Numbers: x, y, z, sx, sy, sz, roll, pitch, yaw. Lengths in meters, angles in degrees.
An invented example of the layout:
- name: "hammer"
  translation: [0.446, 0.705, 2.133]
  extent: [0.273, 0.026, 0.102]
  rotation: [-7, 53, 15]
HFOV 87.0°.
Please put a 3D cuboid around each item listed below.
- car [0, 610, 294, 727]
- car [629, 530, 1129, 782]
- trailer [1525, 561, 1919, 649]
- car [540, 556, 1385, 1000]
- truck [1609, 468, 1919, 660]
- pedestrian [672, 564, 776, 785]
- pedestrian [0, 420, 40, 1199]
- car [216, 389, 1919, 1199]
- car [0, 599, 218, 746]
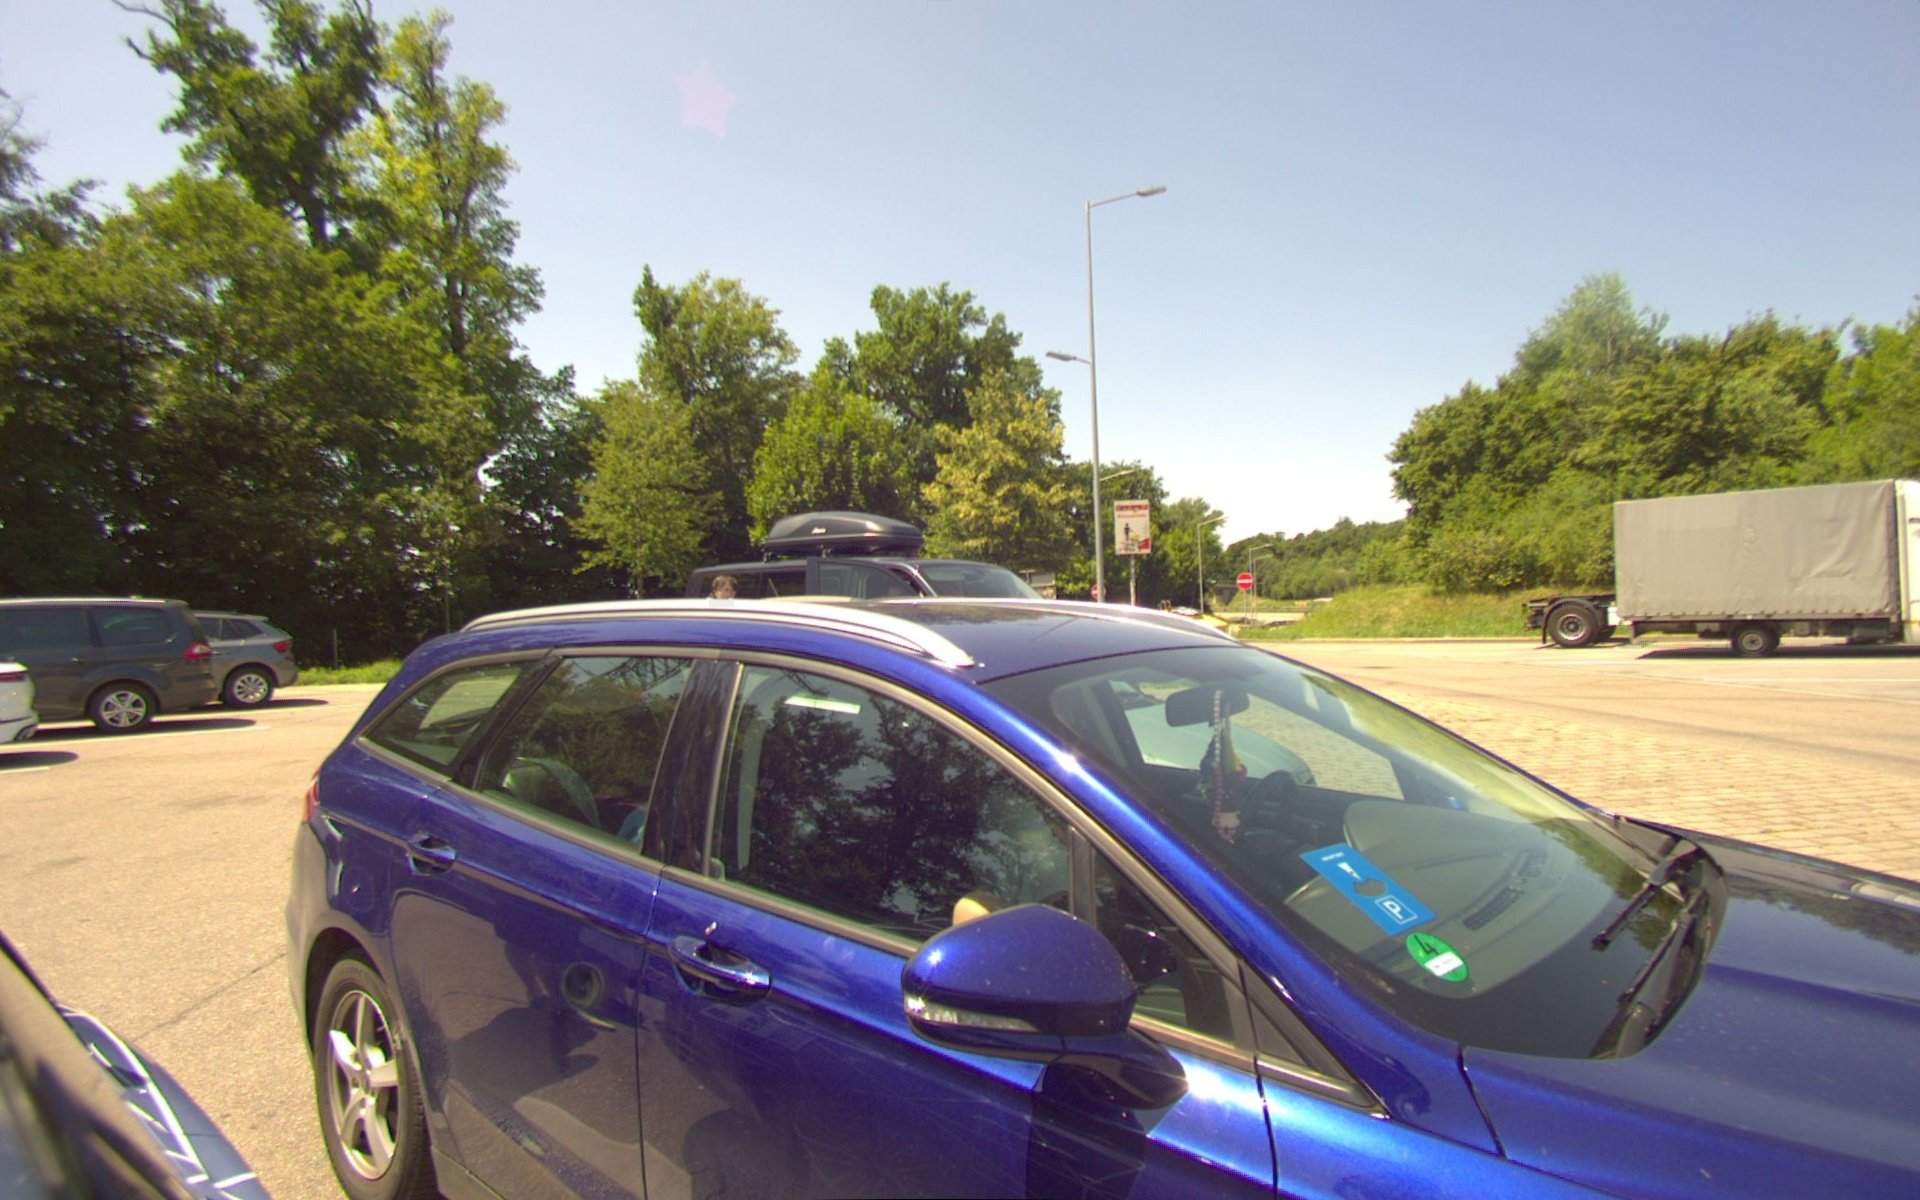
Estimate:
- name: "car"
  translation: [-12.616, 0.971, 15.643]
  extent: [3.767, 1.572, 1.654]
  rotation: [-1, 0, -38]
- name: "car"
  translation: [-0.885, 0.499, 9.639]
  extent: [4.558, 1.912, 1.740]
  rotation: [-3, 0, 32]
- name: "trailer"
  translation: [17.712, 0.161, 23.090]
  extent: [8.098, 1.638, 2.187]
  rotation: [-4, -1, 41]
- name: "car"
  translation: [-0.315, 0.669, 5.590]
  extent: [4.569, 1.517, 1.735]
  rotation: [-3, 0, 40]
- name: "truck"
  translation: [16.788, -0.644, 18.993]
  extent: [7.274, 3.269, 2.678]
  rotation: [-4, -1, 42]
- name: "pedestrian"
  translation: [-1.966, 0.595, 8.527]
  extent: [0.743, 1.767, 0.786]
  rotation: [-1, 0, -6]
- name: "pedestrian"
  translation: [-2.720, 0.520, 2.223]
  extent: [0.905, 1.919, 0.816]
  rotation: [-1, 0, -33]
- name: "car"
  translation: [0.241, 0.634, 2.053]
  extent: [4.569, 1.482, 1.735]
  rotation: [-3, 0, 40]
- name: "car"
  translation: [-11.624, 0.867, 12.636]
  extent: [3.767, 1.708, 1.654]
  rotation: [-1, 0, -38]
